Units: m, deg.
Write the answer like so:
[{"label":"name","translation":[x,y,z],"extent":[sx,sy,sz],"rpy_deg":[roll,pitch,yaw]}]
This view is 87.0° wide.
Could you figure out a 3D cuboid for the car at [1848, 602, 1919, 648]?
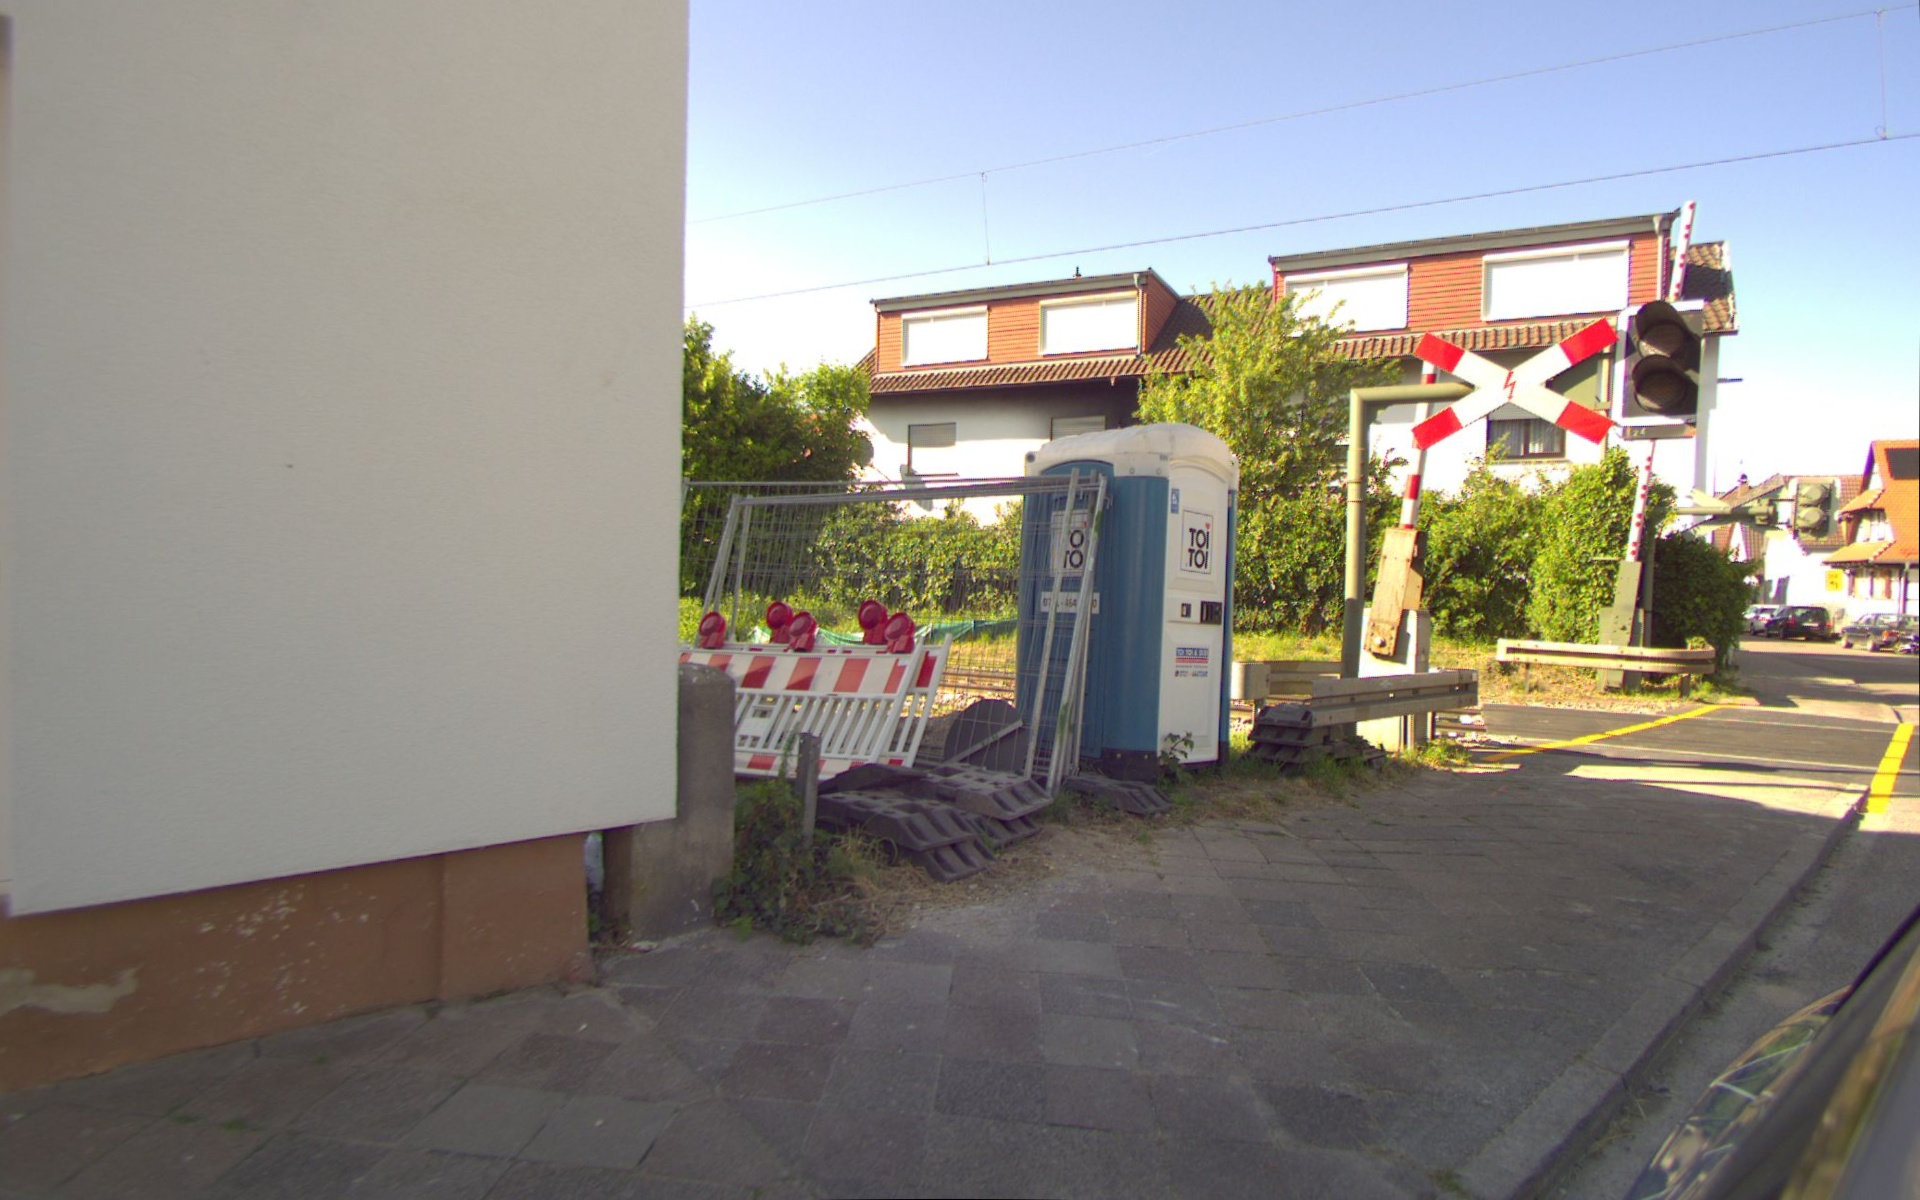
[{"label":"car","translation":[33.403,0.871,35.721],"extent":[1.834,1.423,4.989],"rpy_deg":[4,3,27]}]

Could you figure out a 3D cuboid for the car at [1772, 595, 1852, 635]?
[{"label":"car","translation":[38.610,0.655,45.972],"extent":[1.773,1.624,4.320],"rpy_deg":[2,2,27]}]

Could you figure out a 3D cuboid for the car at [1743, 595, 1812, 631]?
[{"label":"car","translation":[40.948,0.603,50.789],"extent":[1.805,1.586,4.129],"rpy_deg":[2,2,27]}]

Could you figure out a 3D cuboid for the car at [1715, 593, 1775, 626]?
[{"label":"car","translation":[43.895,0.501,56.686],"extent":[1.730,1.633,3.966],"rpy_deg":[2,2,25]}]

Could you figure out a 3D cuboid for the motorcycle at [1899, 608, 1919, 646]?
[{"label":"motorcycle","translation":[31.840,0.919,32.784],"extent":[0.613,1.247,1.999],"rpy_deg":[2,1,-18]}]
